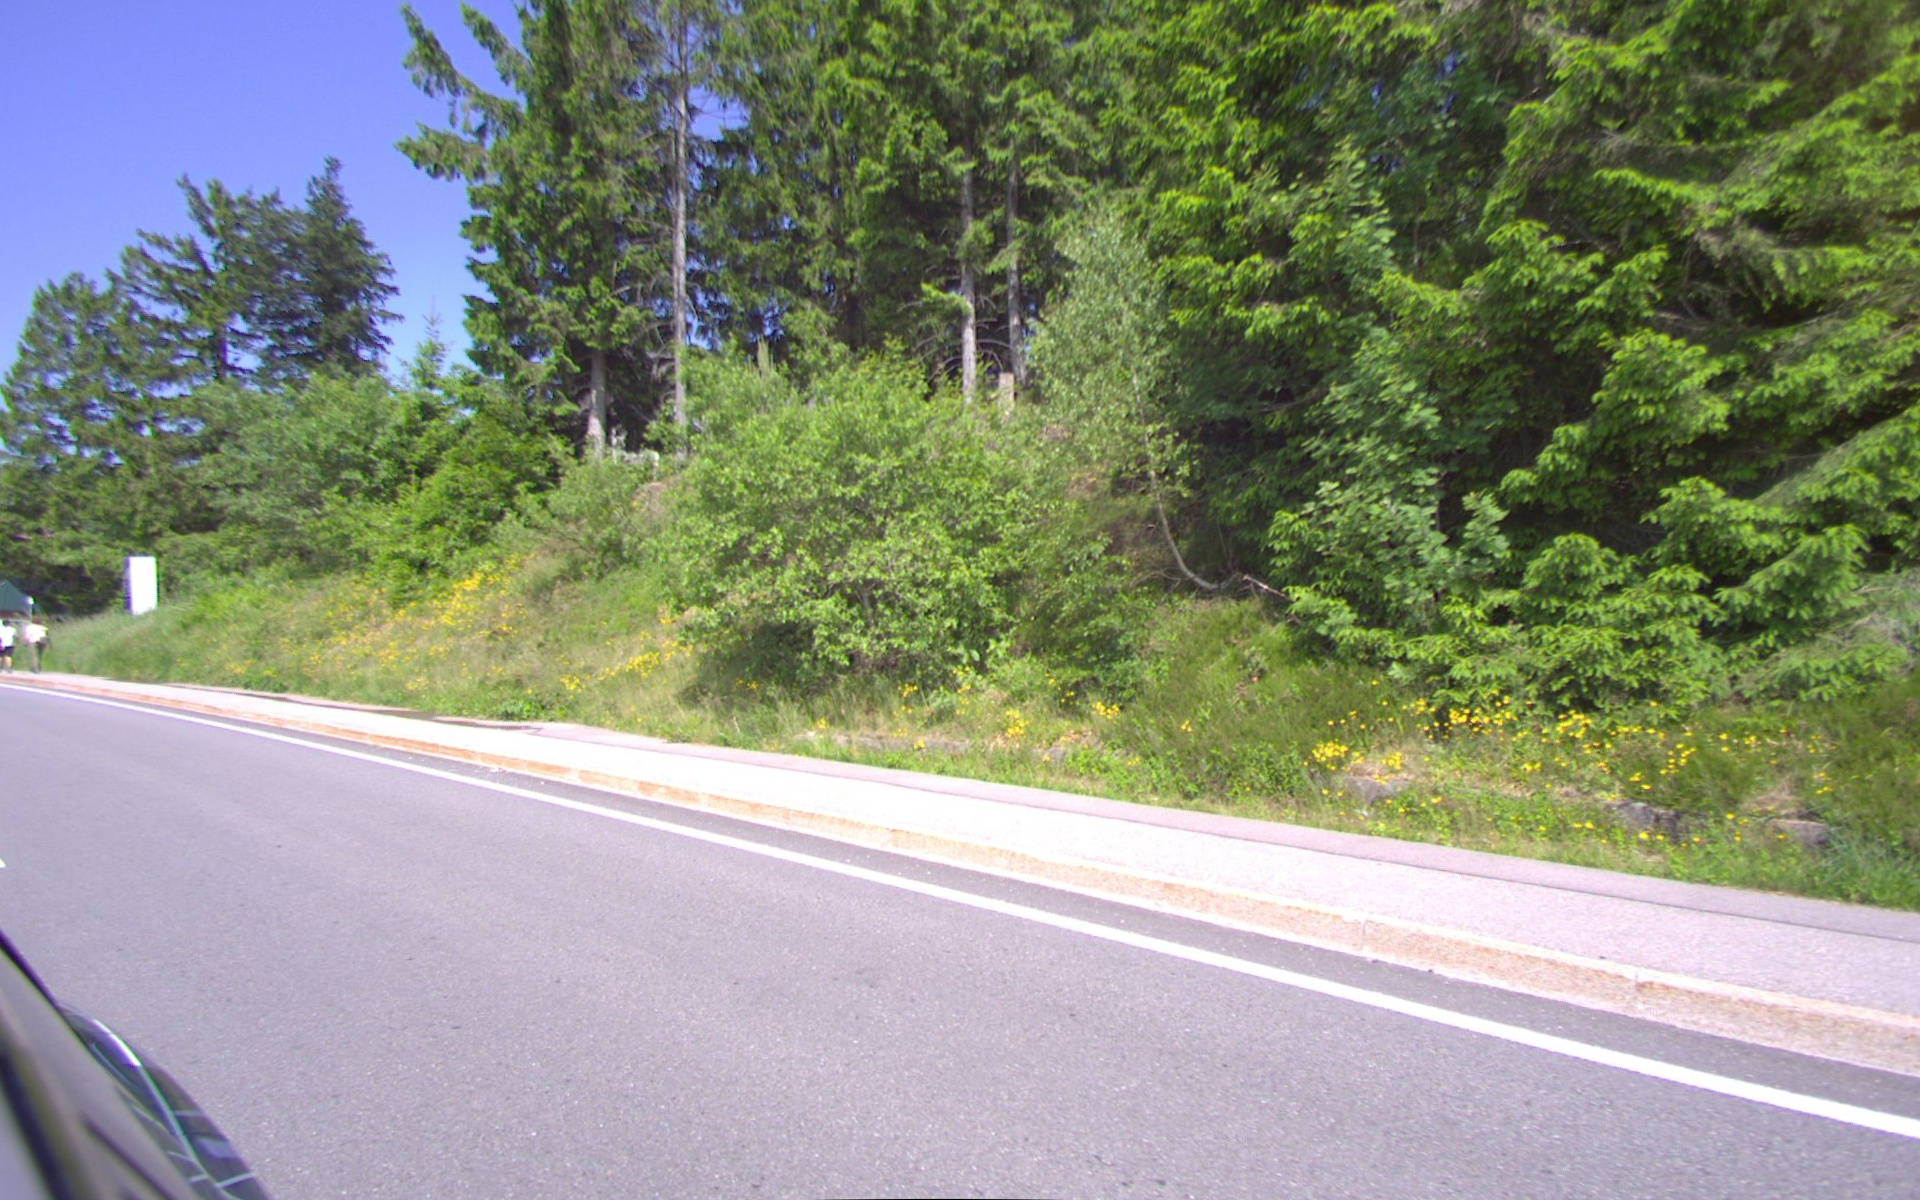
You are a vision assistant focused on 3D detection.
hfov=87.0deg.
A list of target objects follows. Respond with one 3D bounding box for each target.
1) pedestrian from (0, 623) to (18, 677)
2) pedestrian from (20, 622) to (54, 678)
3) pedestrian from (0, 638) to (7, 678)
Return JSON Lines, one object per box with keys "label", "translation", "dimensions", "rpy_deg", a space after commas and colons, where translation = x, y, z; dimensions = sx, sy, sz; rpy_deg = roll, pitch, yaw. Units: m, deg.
{"label": "pedestrian", "translation": [-28.010, 1.464, 29.503], "dimensions": [0.878, 1.549, 0.575], "rpy_deg": [-2, -3, 35]}
{"label": "pedestrian", "translation": [-27.537, 1.482, 30.181], "dimensions": [0.893, 1.655, 0.570], "rpy_deg": [-2, -3, 38]}
{"label": "pedestrian", "translation": [-27.218, 1.617, 28.410], "dimensions": [0.744, 1.110, 0.563], "rpy_deg": [-2, -3, 38]}
